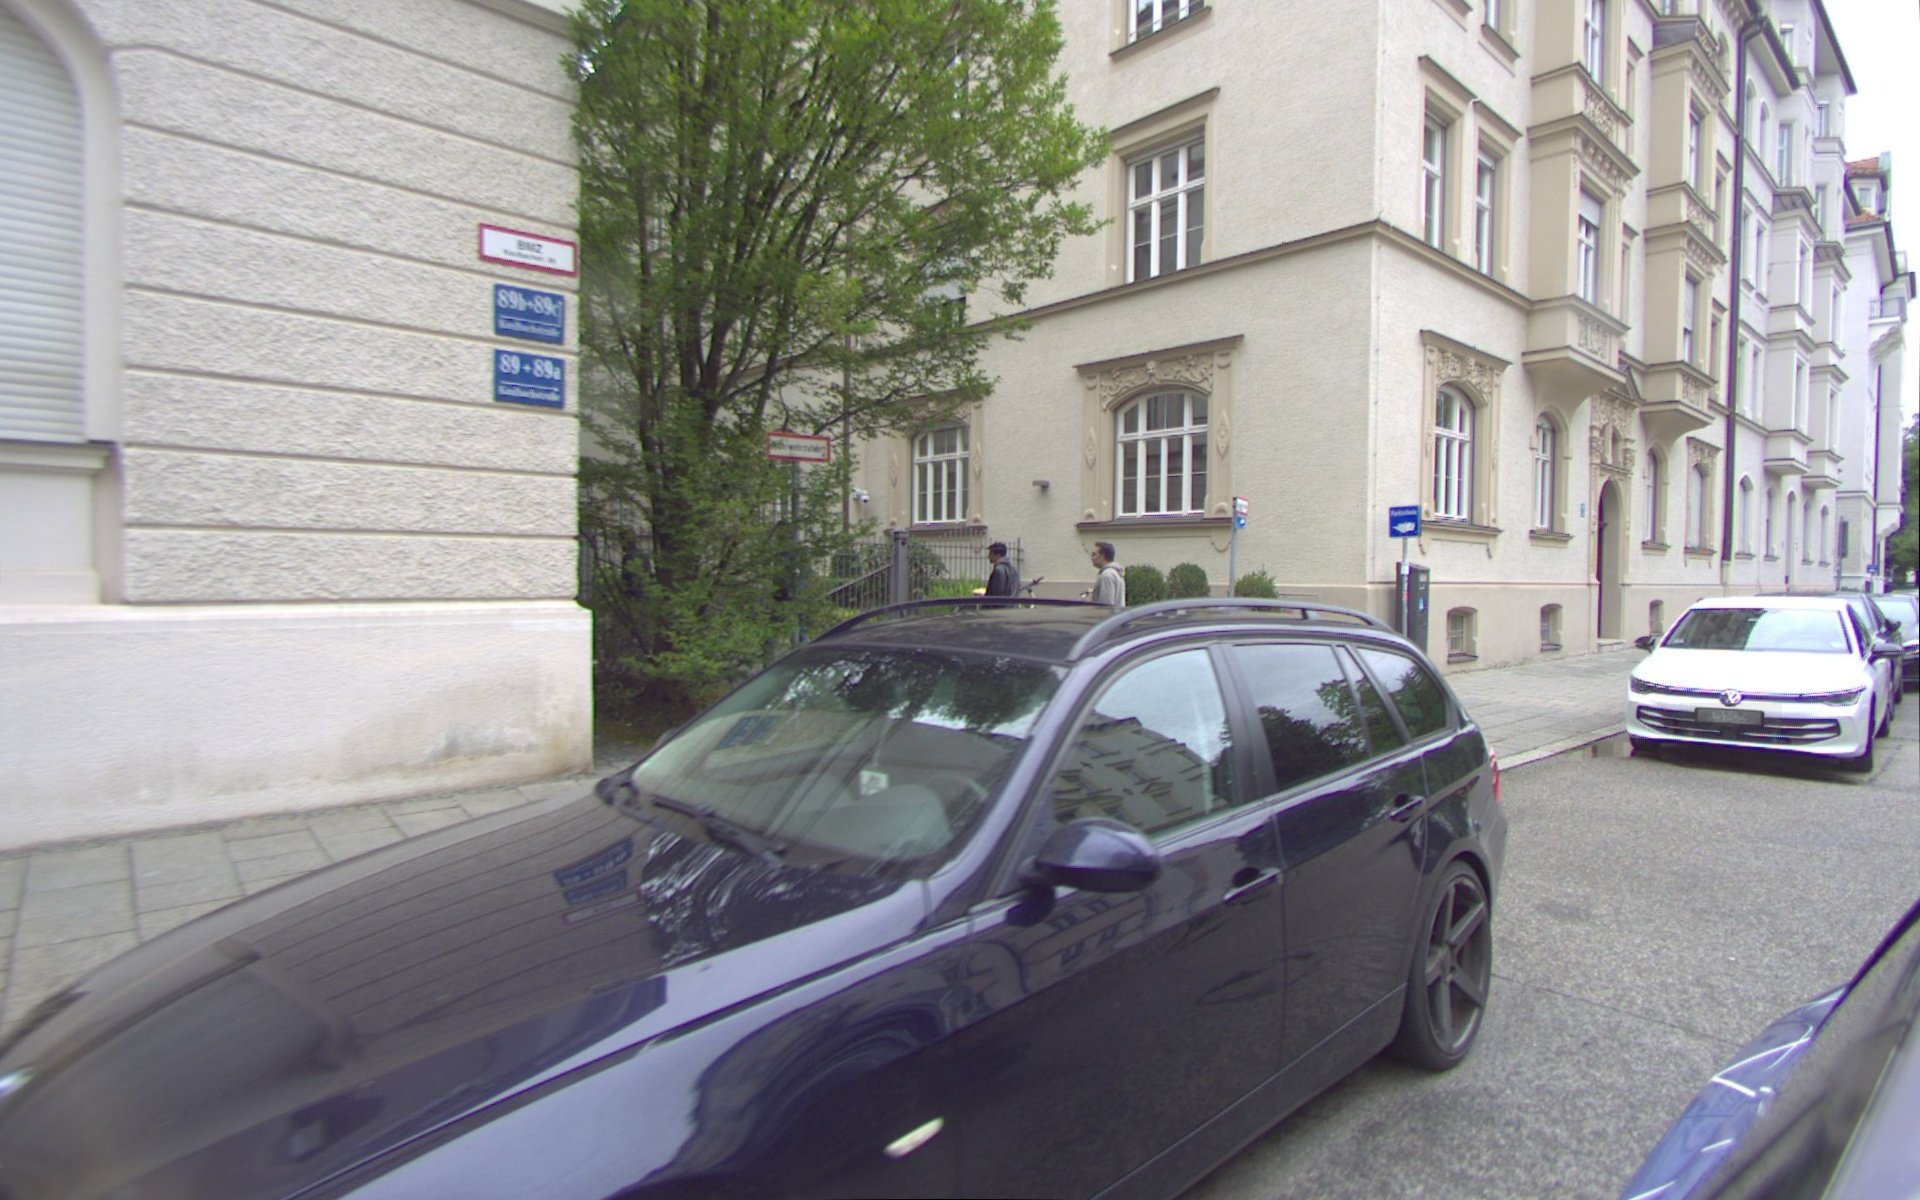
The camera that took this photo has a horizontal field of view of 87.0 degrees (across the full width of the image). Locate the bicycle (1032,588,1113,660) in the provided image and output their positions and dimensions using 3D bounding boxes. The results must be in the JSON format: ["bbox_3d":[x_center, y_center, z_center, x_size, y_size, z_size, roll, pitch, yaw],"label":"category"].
[{"bbox_3d":[1.558,0.309,13.944,1.110,0.919,0.453,-1,4,-40],"label":"bicycle"}]

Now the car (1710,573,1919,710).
[{"bbox_3d":[11.268,0.466,13.231,1.792,1.517,4.016,-1,-1,45],"label":"car"}]

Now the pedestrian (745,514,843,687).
[{"bbox_3d":[-1.818,-0.008,11.049,0.661,1.791,0.883,0,1,-42],"label":"pedestrian"}]

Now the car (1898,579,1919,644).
[{"bbox_3d":[24.691,0.282,25.068,3.890,1.535,1.746,0,2,-42],"label":"car"}]

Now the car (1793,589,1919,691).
[{"bbox_3d":[14.948,0.561,16.310,3.953,1.415,1.745,-2,1,-41],"label":"car"}]

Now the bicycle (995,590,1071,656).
[{"bbox_3d":[1.094,0.328,15.057,1.110,0.919,0.453,-1,4,-40],"label":"bicycle"}]

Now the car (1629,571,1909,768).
[{"bbox_3d":[8.056,0.533,9.938,3.997,1.526,1.664,0,1,-44],"label":"car"}]

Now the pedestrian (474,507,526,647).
[{"bbox_3d":[-6.152,-0.312,13.521,0.544,1.816,0.574,0,2,-33],"label":"pedestrian"}]

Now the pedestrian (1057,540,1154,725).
[{"bbox_3d":[1.423,0.270,9.769,0.840,1.677,0.864,2,3,11],"label":"pedestrian"}]

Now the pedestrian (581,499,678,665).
[{"bbox_3d":[-3.834,-0.213,11.721,0.667,1.839,0.861,3,1,-42],"label":"pedestrian"}]

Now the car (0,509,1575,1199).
[{"bbox_3d":[0.062,0.638,2.830,4.152,1.470,1.714,0,1,-42],"label":"car"}]

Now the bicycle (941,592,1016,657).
[{"bbox_3d":[0.286,0.361,15.502,1.110,0.919,0.453,-1,4,-40],"label":"bicycle"}]

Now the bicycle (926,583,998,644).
[{"bbox_3d":[0.035,0.199,16.257,1.110,0.919,0.453,-1,4,-40],"label":"bicycle"}]

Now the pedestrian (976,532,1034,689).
[{"bbox_3d":[0.541,0.112,12.038,0.618,1.791,0.672,1,1,4],"label":"pedestrian"}]

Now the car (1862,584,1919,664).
[{"bbox_3d":[18.846,0.427,19.554,3.931,1.435,1.644,-1,2,-41],"label":"car"}]
